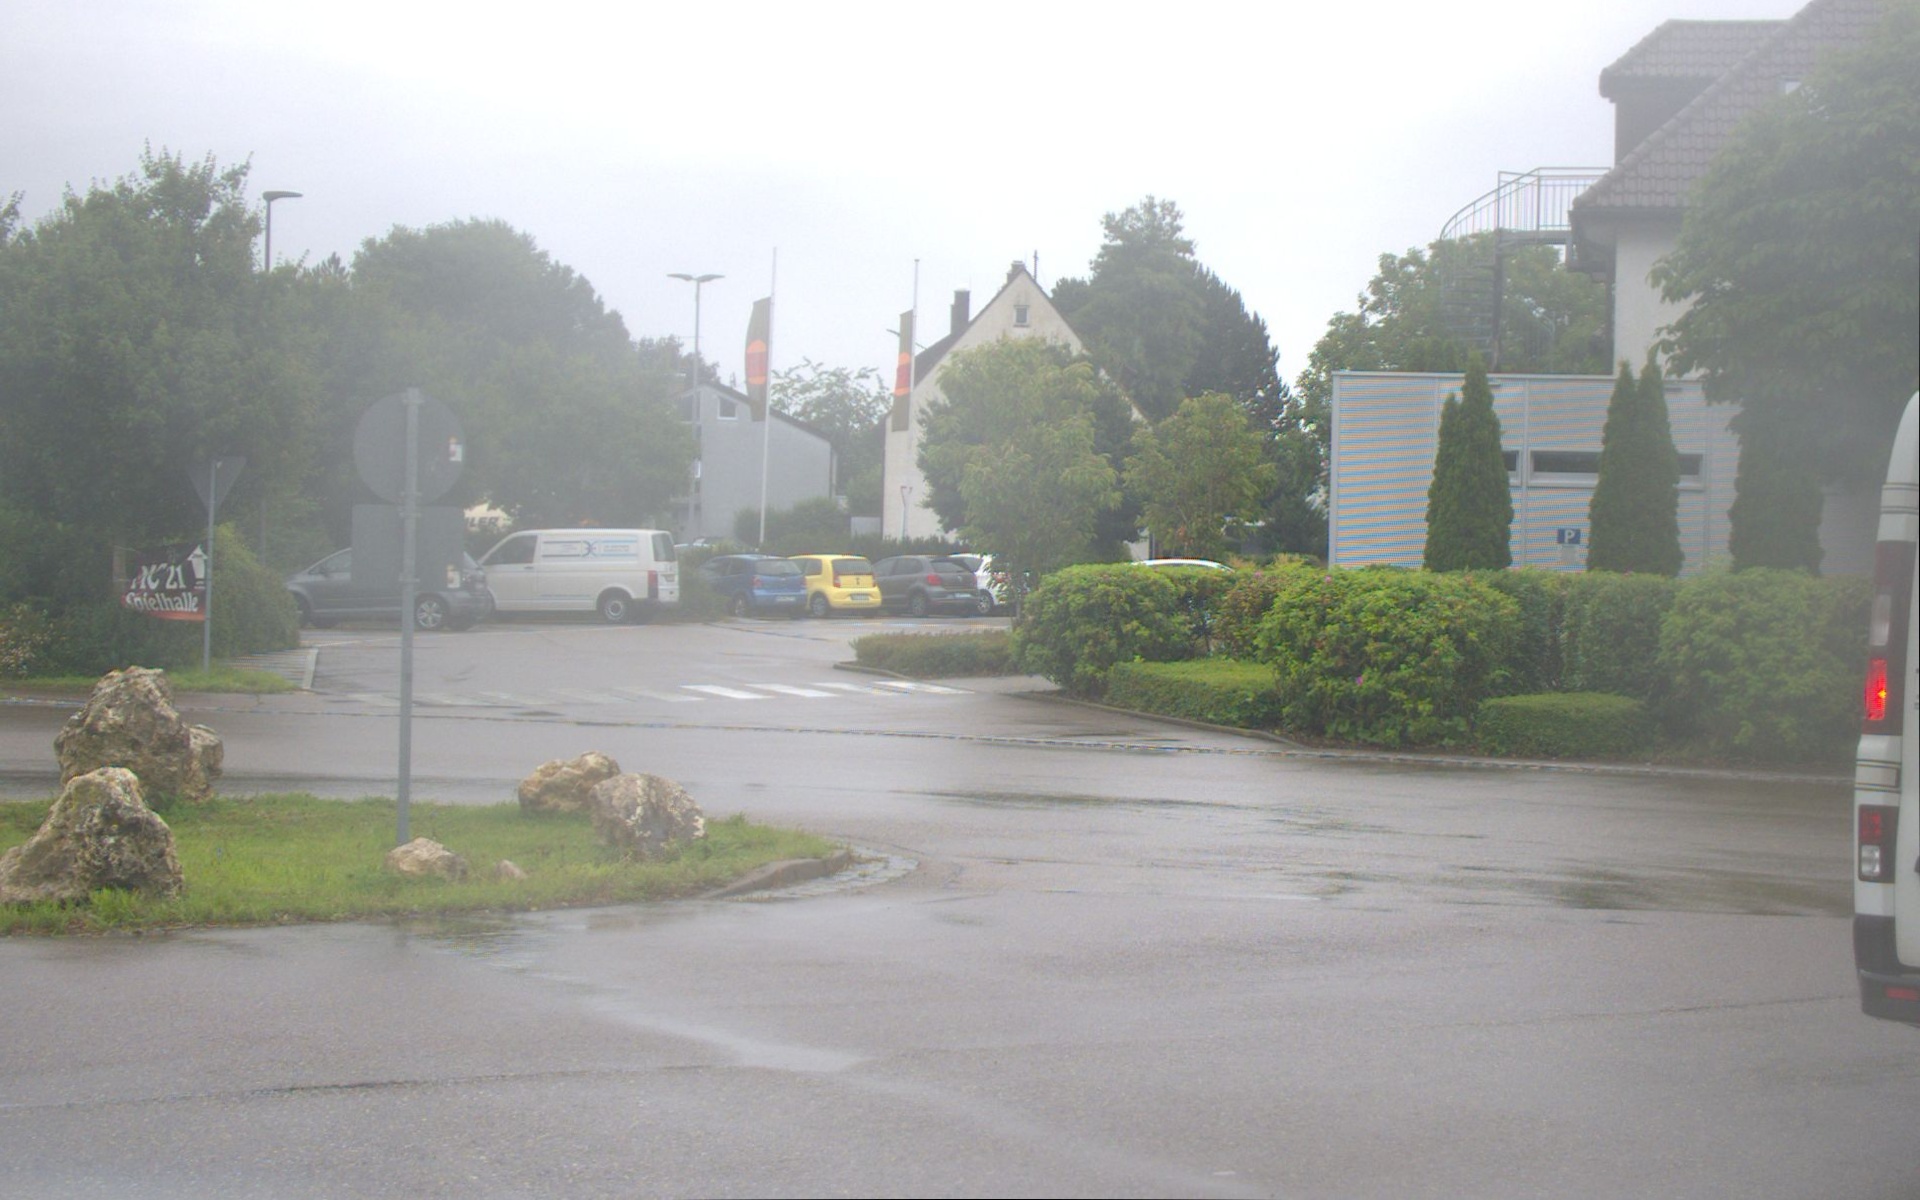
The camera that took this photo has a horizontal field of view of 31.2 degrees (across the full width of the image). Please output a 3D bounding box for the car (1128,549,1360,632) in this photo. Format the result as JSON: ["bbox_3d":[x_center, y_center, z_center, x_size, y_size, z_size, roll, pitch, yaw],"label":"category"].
[{"bbox_3d":[5.316,-0.186,64.222,4.177,1.492,1.717,0,1,10],"label":"car"}]

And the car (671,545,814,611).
[{"bbox_3d":[-4.954,-0.517,77.982,1.551,1.453,3.680,0,1,-35],"label":"car"}]

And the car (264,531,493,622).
[{"bbox_3d":[-10.345,-0.428,61.240,3.733,1.545,1.450,1,1,11],"label":"car"}]

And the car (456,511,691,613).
[{"bbox_3d":[-7.965,-0.805,70.981,4.522,2.026,1.644,1,1,11],"label":"car"}]

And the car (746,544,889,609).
[{"bbox_3d":[-3.347,-0.568,80.153,1.581,1.453,3.680,-1,1,-35],"label":"car"}]

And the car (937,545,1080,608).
[{"bbox_3d":[1.141,-0.588,82.734,1.581,1.453,3.680,-1,1,-35],"label":"car"}]

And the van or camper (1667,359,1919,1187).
[{"bbox_3d":[4.505,0.479,9.405,5.182,1.938,2.194,2,1,-39],"label":"van or camper"}]

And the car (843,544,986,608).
[{"bbox_3d":[-1.106,-0.582,81.348,1.581,1.453,3.680,-1,1,-35],"label":"car"}]
